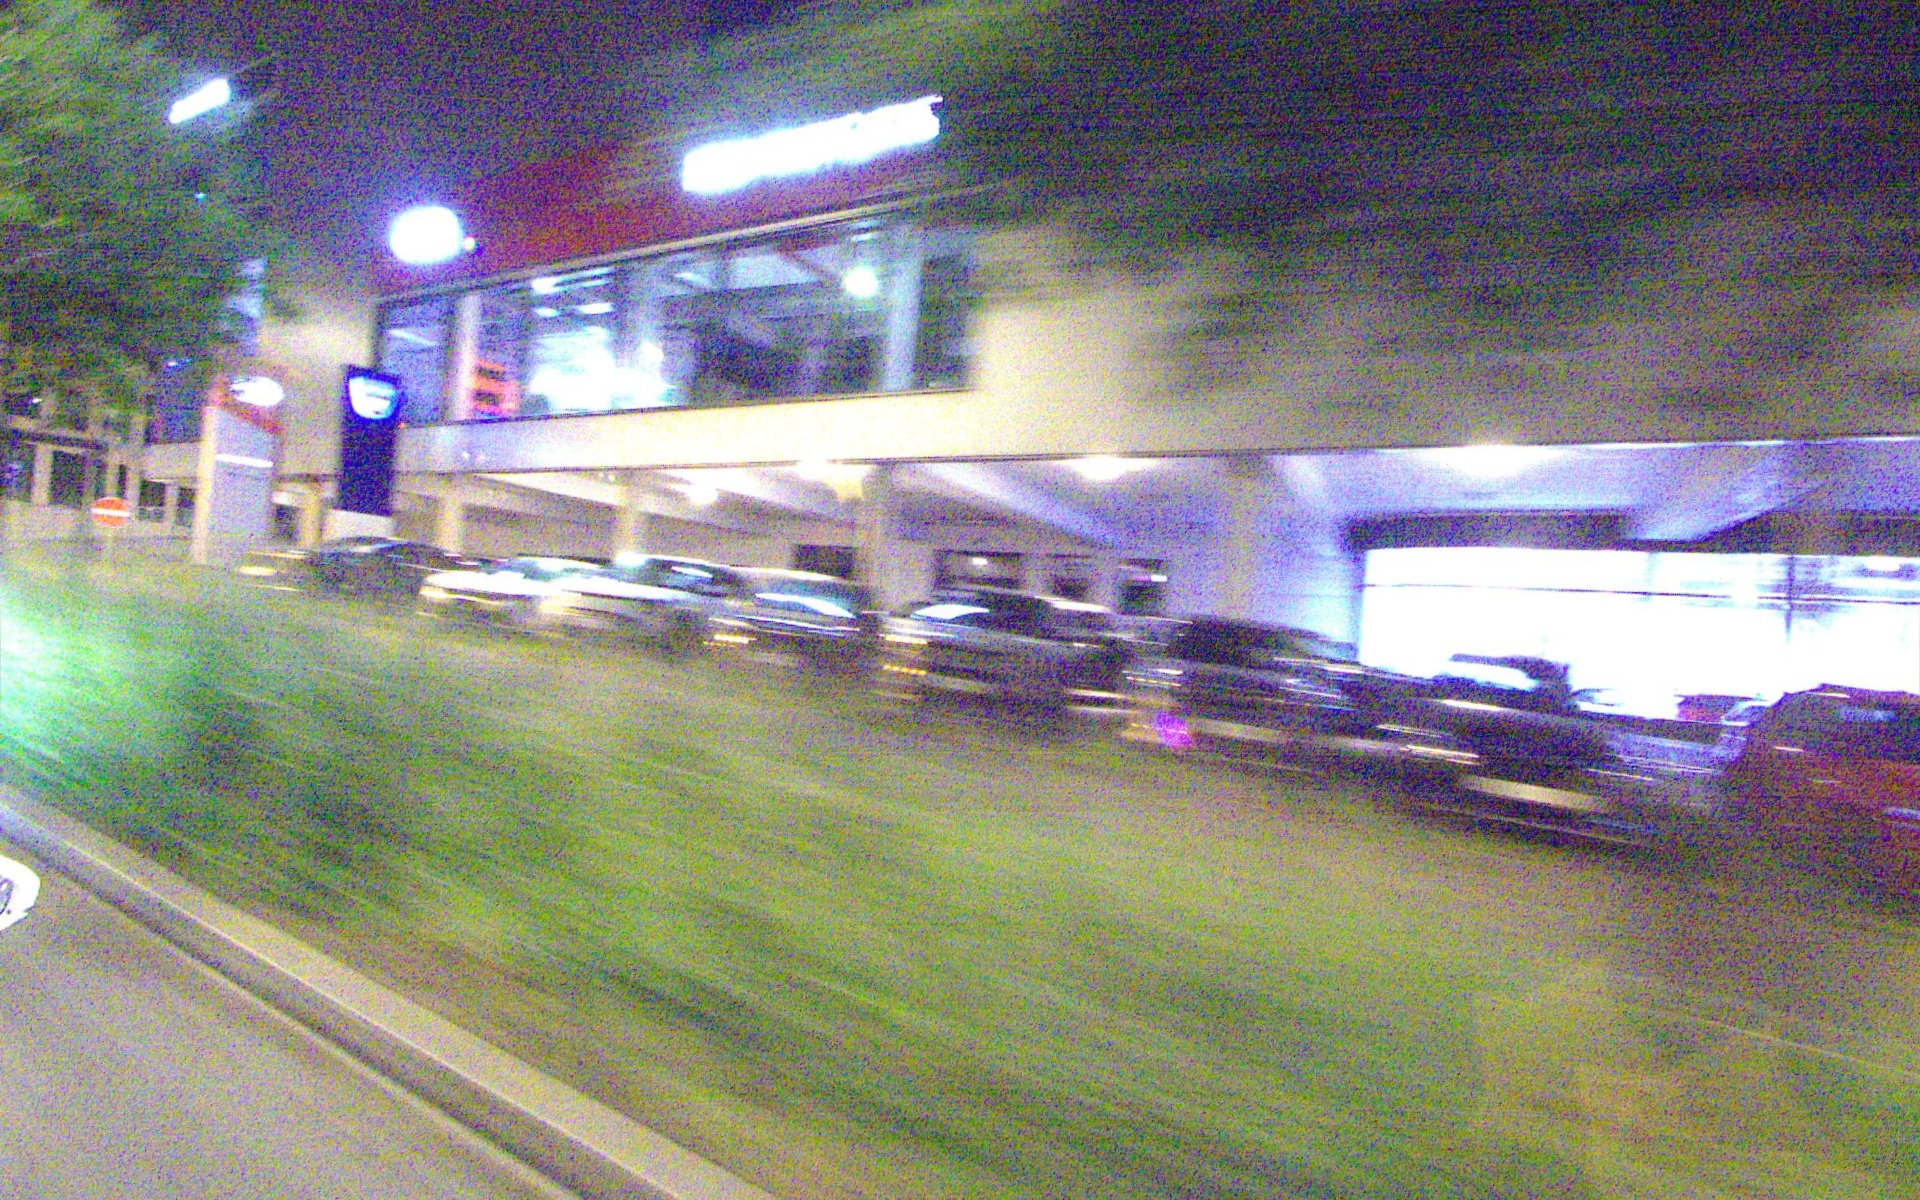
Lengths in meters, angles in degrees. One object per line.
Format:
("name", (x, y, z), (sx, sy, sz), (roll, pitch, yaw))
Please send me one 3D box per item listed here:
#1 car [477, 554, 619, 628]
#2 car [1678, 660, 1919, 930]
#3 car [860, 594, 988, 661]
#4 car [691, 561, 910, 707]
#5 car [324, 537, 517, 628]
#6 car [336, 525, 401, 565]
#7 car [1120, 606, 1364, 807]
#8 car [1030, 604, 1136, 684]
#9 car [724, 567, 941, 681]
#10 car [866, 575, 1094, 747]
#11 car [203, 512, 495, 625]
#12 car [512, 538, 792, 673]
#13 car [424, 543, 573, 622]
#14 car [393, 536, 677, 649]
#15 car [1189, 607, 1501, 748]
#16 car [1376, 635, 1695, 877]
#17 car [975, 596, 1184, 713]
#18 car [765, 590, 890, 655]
("car", (-14.178, -0.311, 34.630), (4.331, 2.017, 1.957), (6, -1, 25))
("car", (7.202, 1.381, 7.366), (1.791, 1.392, 4.031), (6, 3, 16))
("car", (-0.922, 0.785, 27.311), (1.721, 1.605, 3.480), (4, -1, 33))
("car", (-1.879, 0.457, 13.005), (1.648, 1.450, 3.617), (6, -2, 9))
("car", (-15.860, -0.521, 29.504), (5.529, 2.037, 1.999), (6, -1, 26))
("car", (-29.562, -2.793, 50.428), (1.604, 1.685, 3.980), (0, 8, -13))
("car", (2.651, 0.883, 10.275), (1.791, 1.409, 4.000), (7, 1, 10))
("car", (2.979, 1.062, 25.222), (1.628, 1.674, 4.320), (6, -2, -5))
("car", (-2.404, 0.462, 19.037), (3.802, 1.818, 1.587), (4, -1, -9))
("car", (0.431, 0.600, 11.838), (1.798, 1.489, 3.999), (6, 1, 13))
("car", (-10.666, -0.476, 17.963), (1.842, 1.436, 4.139), (6, -2, 18))
("car", (-4.157, 0.145, 14.347), (1.873, 1.441, 4.003), (7, -1, 14))
("car", (-14.801, -0.569, 32.235), (4.331, 2.017, 1.816), (6, -1, 25))
("car", (-6.380, -0.028, 15.832), (1.910, 1.279, 4.647), (7, -1, 7))
("car", (5.423, 1.064, 14.471), (3.725, 1.482, 1.626), (7, 0, -1))
("car", (4.821, 1.141, 9.041), (1.775, 1.399, 3.996), (7, 2, 21))
("car", (1.907, 0.872, 16.462), (3.021, 1.504, 1.319), (7, 0, -9))
("car", (-3.936, 0.647, 29.937), (3.242, 1.662, 1.635), (4, 1, 26))
